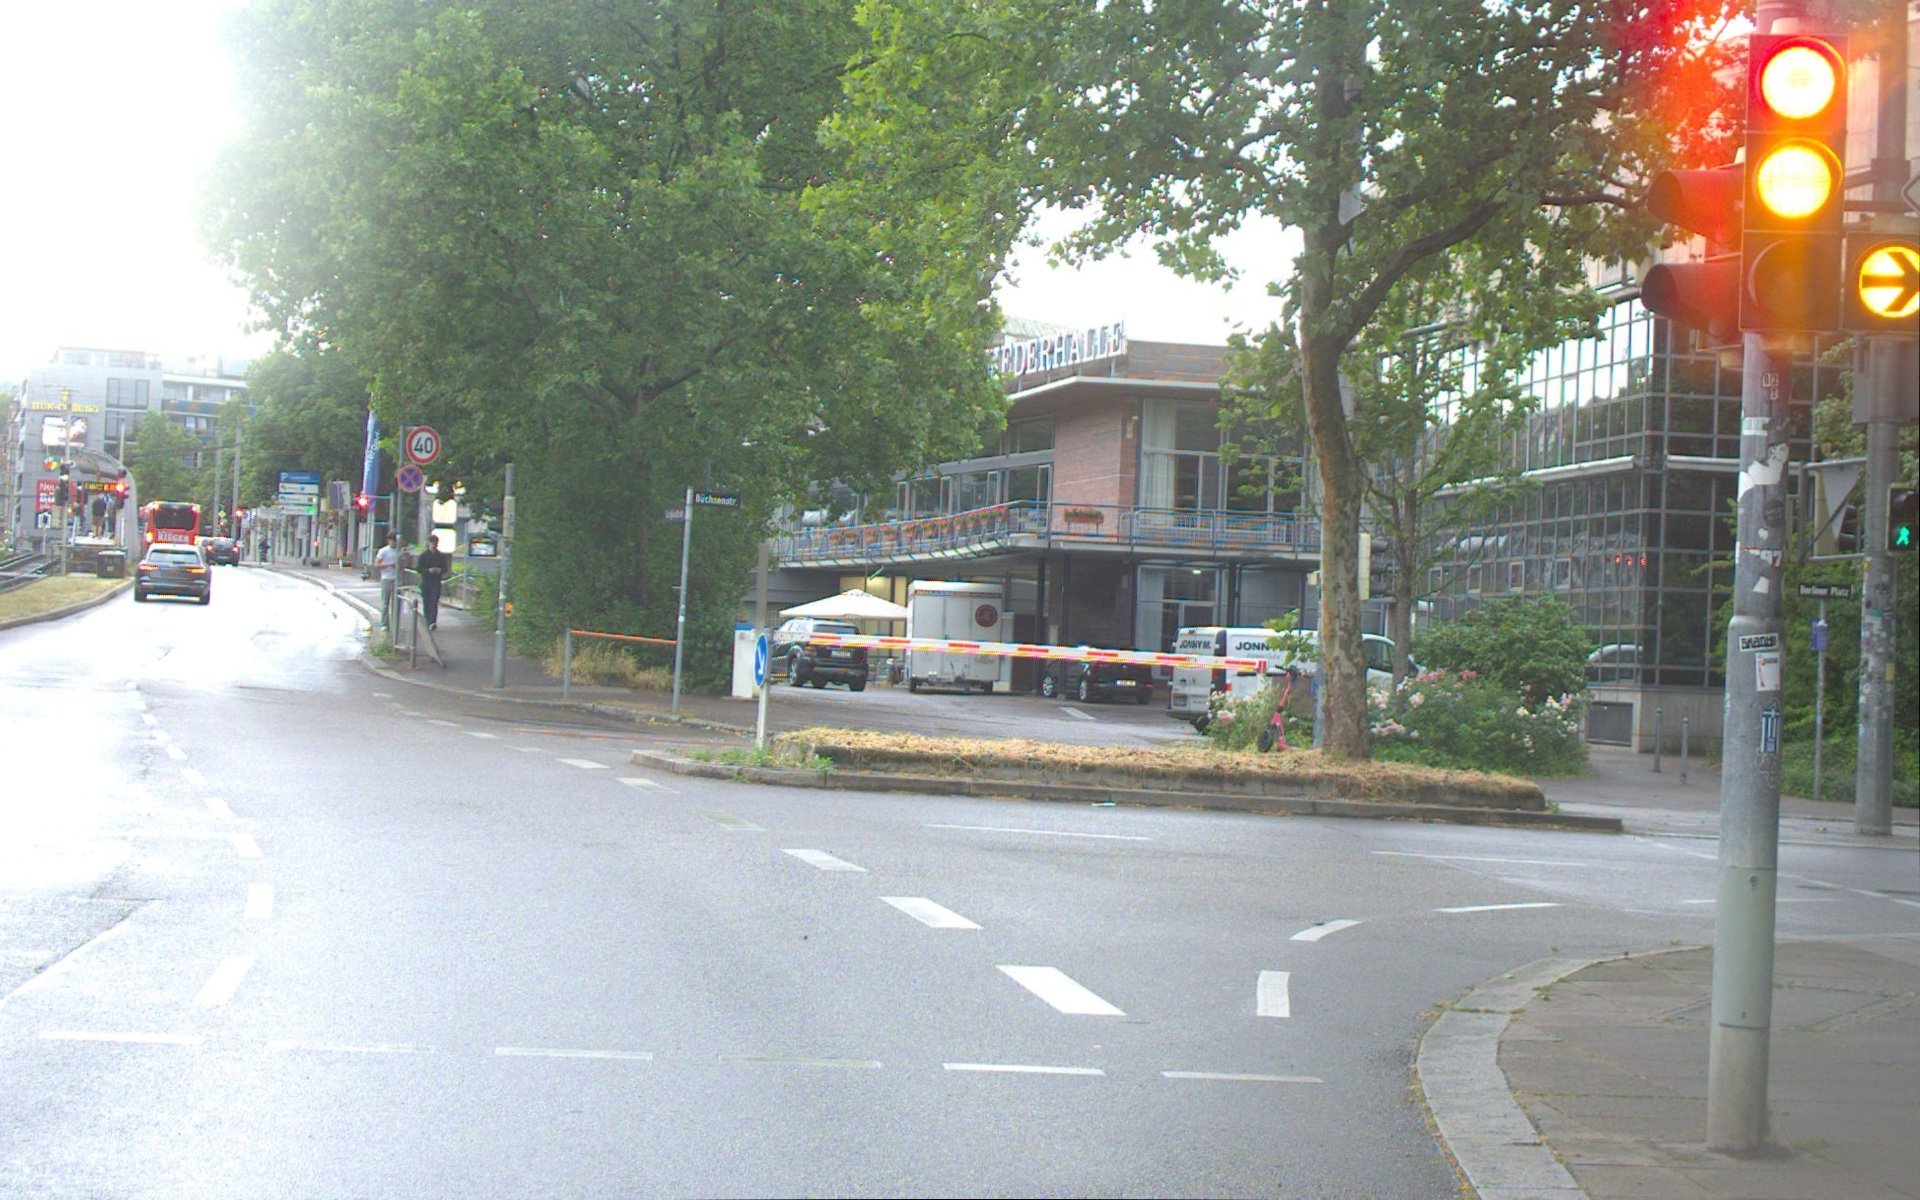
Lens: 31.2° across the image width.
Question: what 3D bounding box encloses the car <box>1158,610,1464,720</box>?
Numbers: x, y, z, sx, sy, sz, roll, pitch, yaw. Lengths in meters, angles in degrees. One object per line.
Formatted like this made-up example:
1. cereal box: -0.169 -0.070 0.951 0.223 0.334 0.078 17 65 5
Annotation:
1. car: 6.365 1.177 62.212 5.198 1.725 1.875 3 1 -25

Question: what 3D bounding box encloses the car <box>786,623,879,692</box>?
1. car: -3.237 1.455 87.955 2.019 1.546 4.350 3 1 2

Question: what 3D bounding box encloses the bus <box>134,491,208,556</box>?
1. bus: -40.495 -3.864 176.420 3.589 3.160 10.423 1 1 -13

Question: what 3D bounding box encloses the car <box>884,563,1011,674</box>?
1. car: -0.398 0.440 91.487 2.731 2.686 6.923 3 1 -5

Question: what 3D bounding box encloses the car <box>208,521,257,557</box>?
1. car: -38.404 -3.211 181.403 2.362 1.810 5.185 1 1 -13

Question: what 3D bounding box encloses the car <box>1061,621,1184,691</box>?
1. car: 4.180 1.435 89.168 2.019 1.546 4.351 3 1 -13

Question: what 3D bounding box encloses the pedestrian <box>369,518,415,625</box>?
1. pedestrian: -10.785 -0.546 65.280 0.814 2.007 1.077 1 0 -8

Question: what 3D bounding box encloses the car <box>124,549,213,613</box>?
1. car: -19.495 -0.485 84.804 1.993 1.514 4.351 1 1 -11

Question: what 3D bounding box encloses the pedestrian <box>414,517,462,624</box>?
1. pedestrian: -9.929 -0.568 65.401 0.874 2.007 1.077 1 0 -8
